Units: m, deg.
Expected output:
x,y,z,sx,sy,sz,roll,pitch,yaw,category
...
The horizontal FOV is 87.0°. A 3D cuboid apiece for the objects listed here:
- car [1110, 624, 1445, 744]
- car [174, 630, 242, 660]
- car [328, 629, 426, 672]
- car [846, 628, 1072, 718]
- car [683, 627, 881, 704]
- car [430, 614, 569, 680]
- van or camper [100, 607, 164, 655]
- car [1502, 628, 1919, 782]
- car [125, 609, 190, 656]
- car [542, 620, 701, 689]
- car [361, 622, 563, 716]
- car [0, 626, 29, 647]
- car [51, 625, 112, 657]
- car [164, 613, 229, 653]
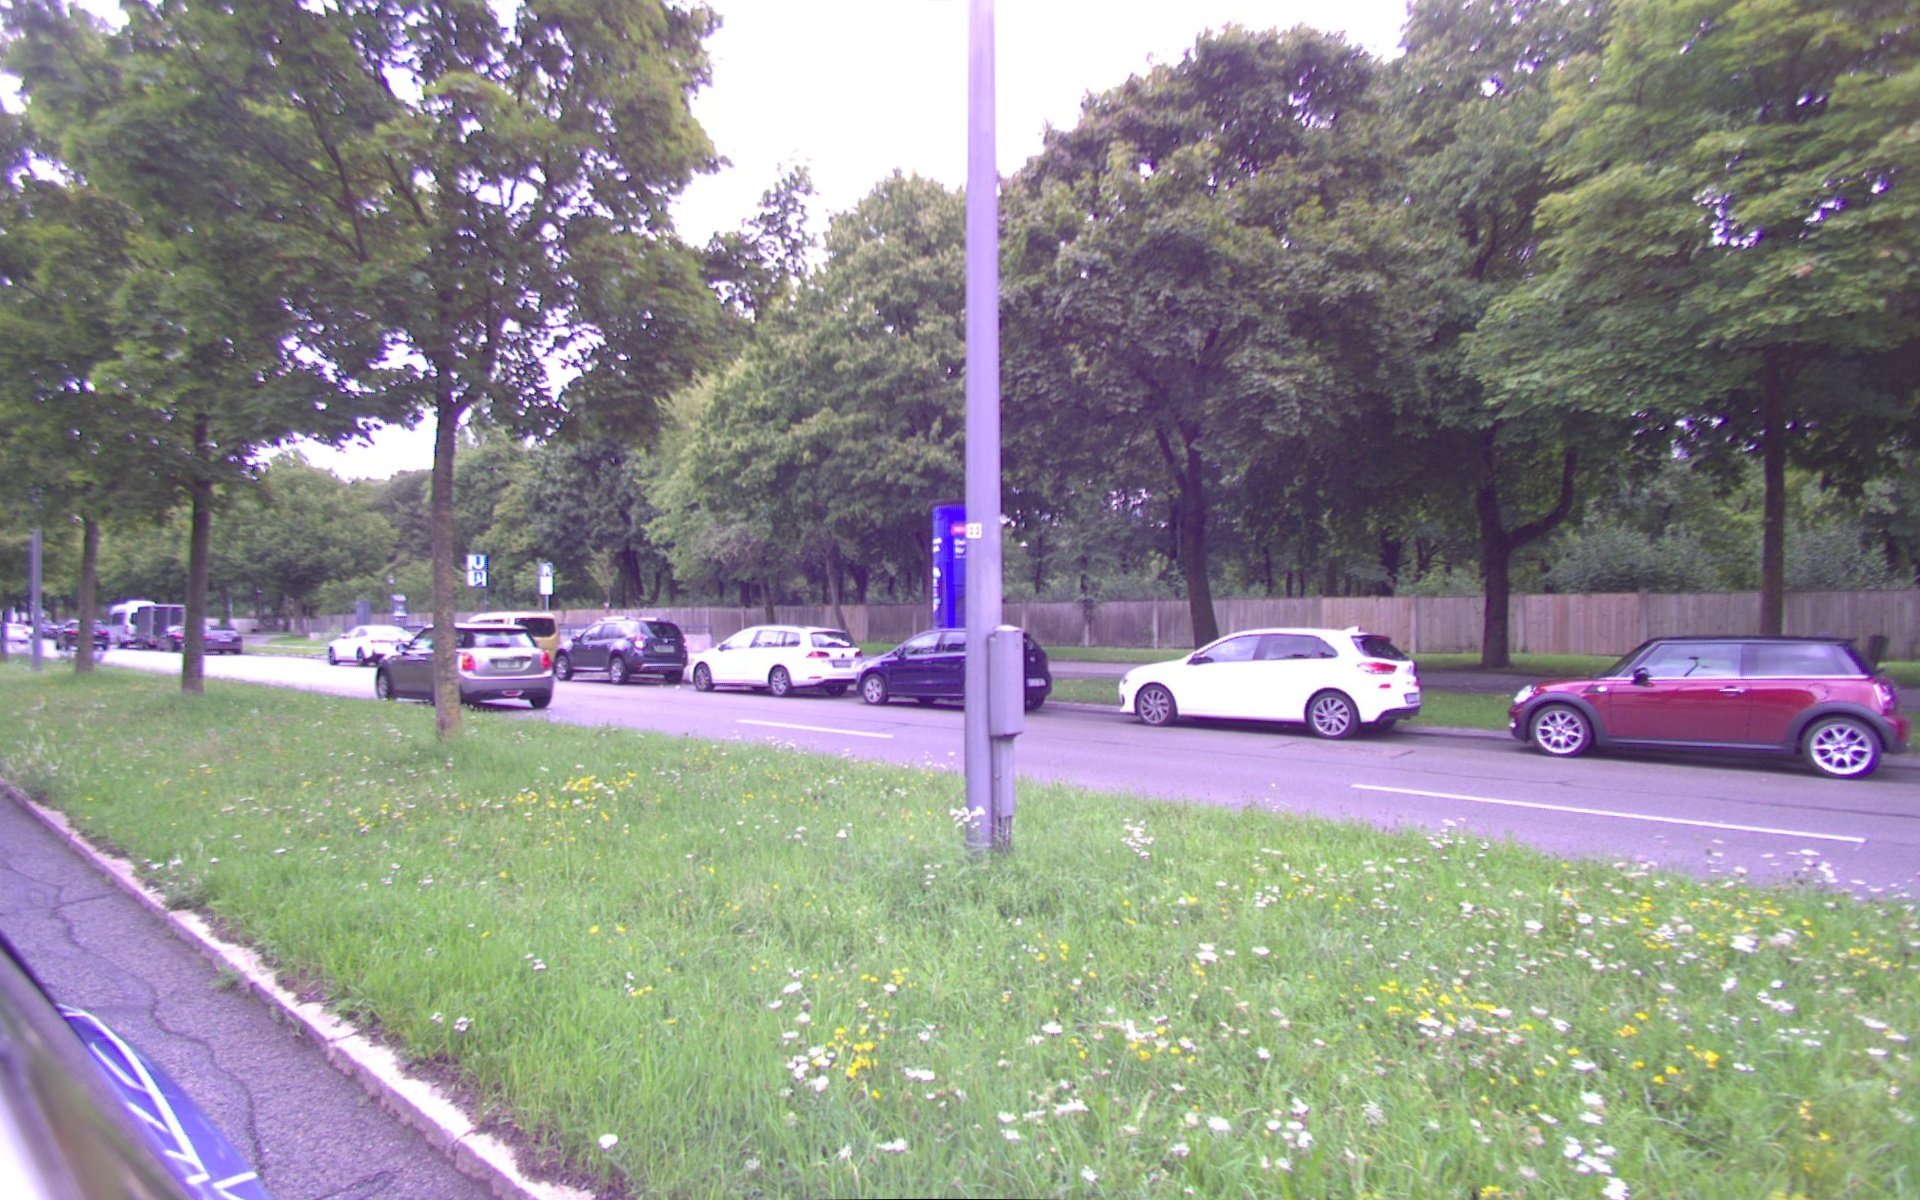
x,y,z,sx,sy,sz,roll,pitch,yaw,category
4.461,1.122,14.589,4.258,1.488,1.802,-2,-4,42,car
-37.472,2.238,50.404,4.036,1.420,1.696,-1,-3,39,car
-21.141,1.805,36.646,4.036,1.454,1.696,-1,-3,39,car
-0.060,1.254,18.256,3.783,1.457,1.804,-1,-4,39,car
-3.874,1.333,21.694,4.296,1.481,1.804,-1,-3,39,car
-13.586,1.351,29.760,4.528,1.784,1.839,-1,-3,39,car
-50.563,1.874,61.801,4.926,2.829,1.974,-1,-3,39,van or camper
8.250,1.052,11.215,3.685,1.433,1.632,-2,-4,42,car
-46.720,1.884,58.889,4.494,2.611,1.974,-1,-3,39,car
-8.730,1.344,25.997,4.036,1.628,1.982,-1,-3,39,car
-8.438,1.109,17.026,3.765,1.393,1.700,-2,-4,41,car
-69.309,2.622,73.557,4.497,1.467,1.842,-1,-3,40,car
-48.073,2.215,55.345,4.497,1.682,1.842,-1,-3,40,car
-40.614,1.741,53.816,3.997,2.029,1.973,-1,-1,40,car
